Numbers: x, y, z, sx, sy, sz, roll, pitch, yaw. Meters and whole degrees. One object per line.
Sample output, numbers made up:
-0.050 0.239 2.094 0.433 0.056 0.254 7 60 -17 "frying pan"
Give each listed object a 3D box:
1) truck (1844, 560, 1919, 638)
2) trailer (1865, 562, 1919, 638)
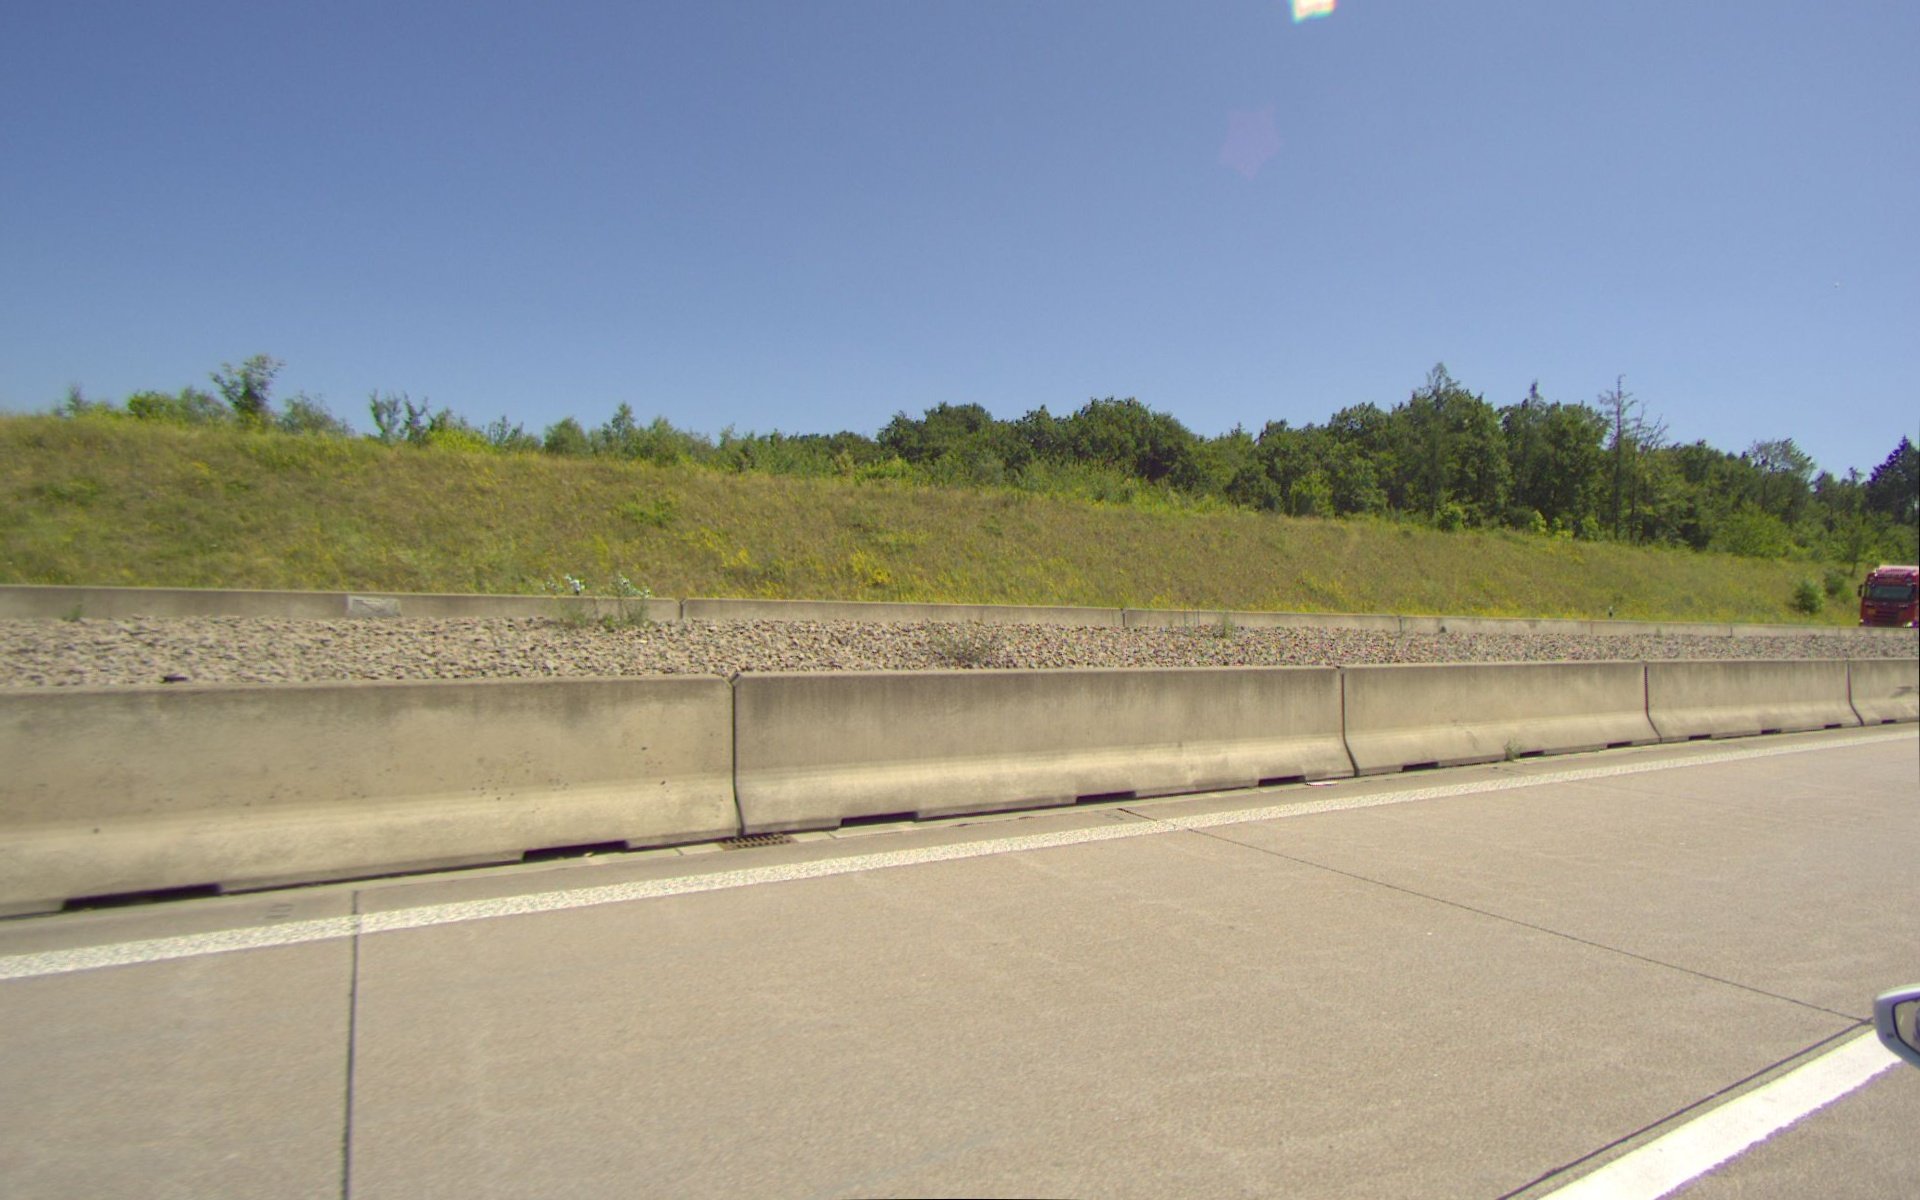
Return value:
53.658 -0.032 57.359 5.913 4.224 2.919 2 1 -31 "truck"
57.637 0.088 59.742 9.227 4.224 2.918 2 1 -31 "trailer"
